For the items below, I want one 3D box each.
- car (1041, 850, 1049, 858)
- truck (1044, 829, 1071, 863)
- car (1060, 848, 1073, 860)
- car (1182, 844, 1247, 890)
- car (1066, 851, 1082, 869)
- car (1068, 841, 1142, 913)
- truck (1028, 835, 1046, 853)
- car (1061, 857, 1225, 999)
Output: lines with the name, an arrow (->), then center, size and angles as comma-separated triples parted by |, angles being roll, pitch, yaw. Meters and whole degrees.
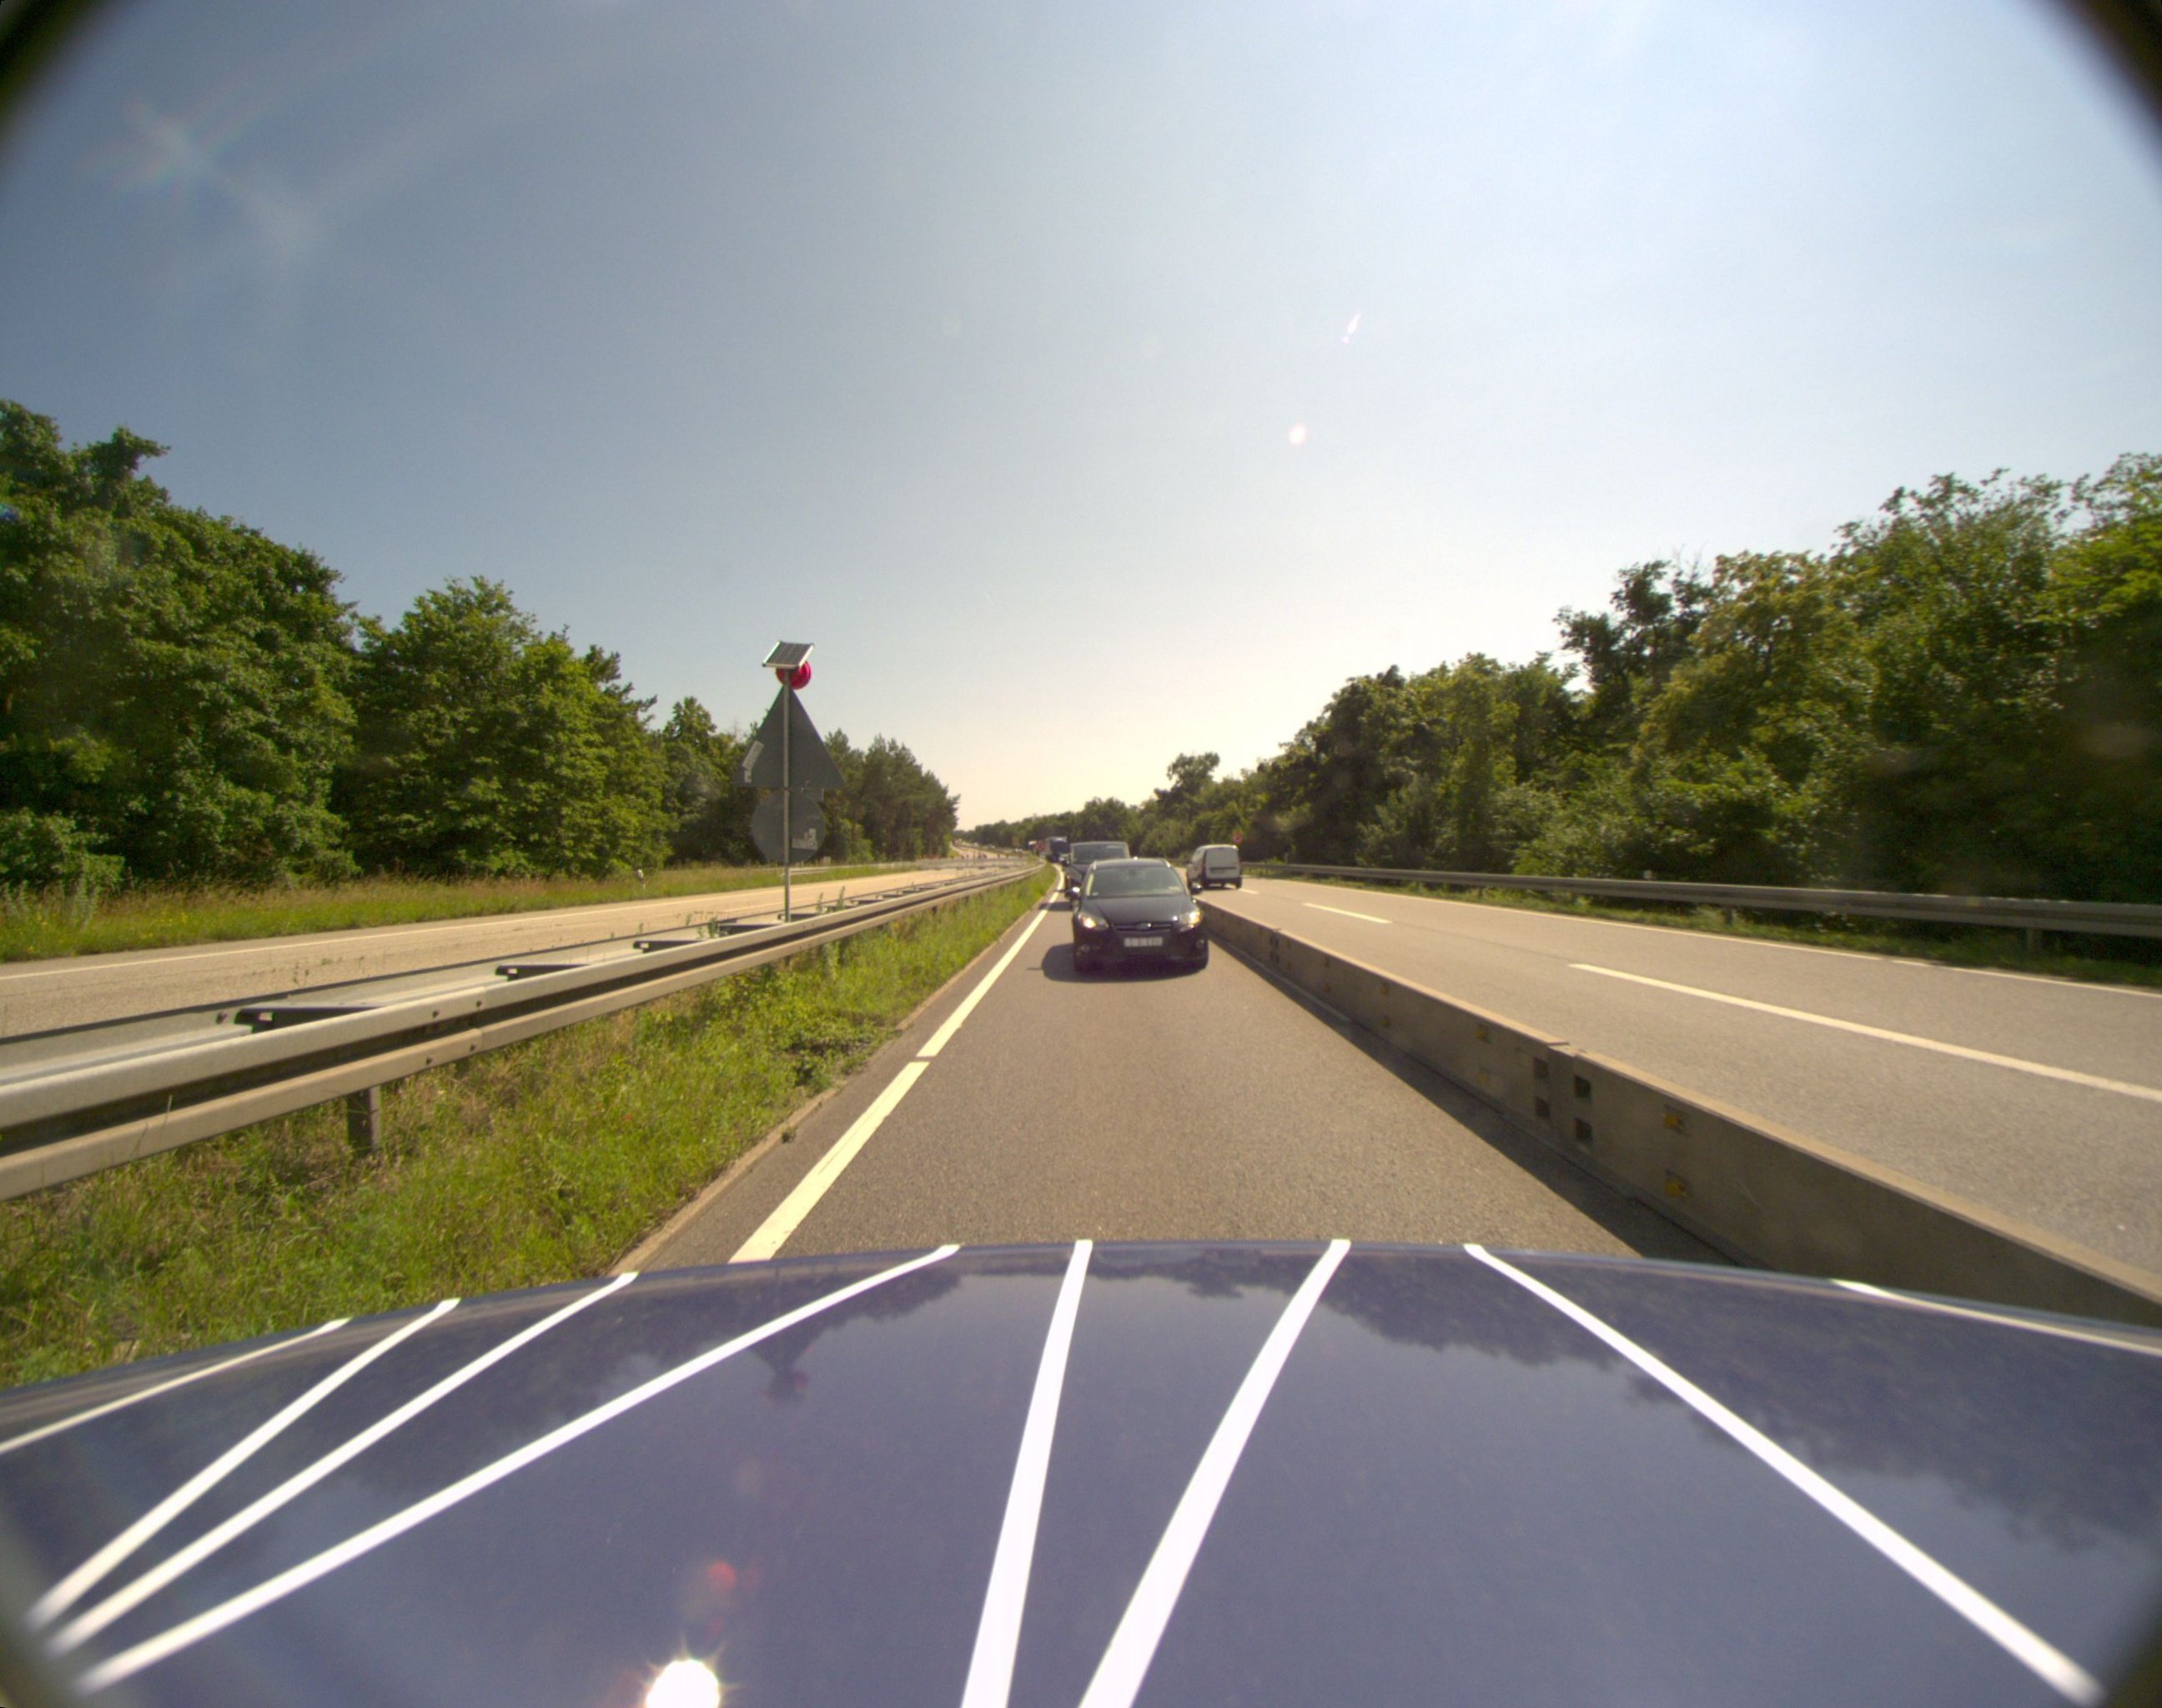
car -> -7.397, 0.059, 155.575 | 1.528, 1.647, 3.978 | 1, 0, -5
truck -> -3.756, -1.281, 123.580 | 3.829, 5.267, 11.245 | -1, 1, 1
car -> -2.064, -0.033, 106.813 | 1.528, 1.647, 3.752 | 0, 0, -5
car -> 5.585, 0.488, 32.234 | 1.760, 1.754, 4.283 | -2, 0, -3
car -> -0.691, 0.547, 72.835 | 1.527, 1.647, 3.979 | -1, 1, -1
car -> 0.693, 0.638, 23.342 | 1.959, 1.901, 4.936 | -2, 0, 1
truck -> -10.875, -2.504, 186.758 | 3.831, 4.265, 11.239 | -1, 1, -6
car -> 0.748, 0.867, 11.284 | 1.846, 1.537, 4.935 | -2, 0, 1
